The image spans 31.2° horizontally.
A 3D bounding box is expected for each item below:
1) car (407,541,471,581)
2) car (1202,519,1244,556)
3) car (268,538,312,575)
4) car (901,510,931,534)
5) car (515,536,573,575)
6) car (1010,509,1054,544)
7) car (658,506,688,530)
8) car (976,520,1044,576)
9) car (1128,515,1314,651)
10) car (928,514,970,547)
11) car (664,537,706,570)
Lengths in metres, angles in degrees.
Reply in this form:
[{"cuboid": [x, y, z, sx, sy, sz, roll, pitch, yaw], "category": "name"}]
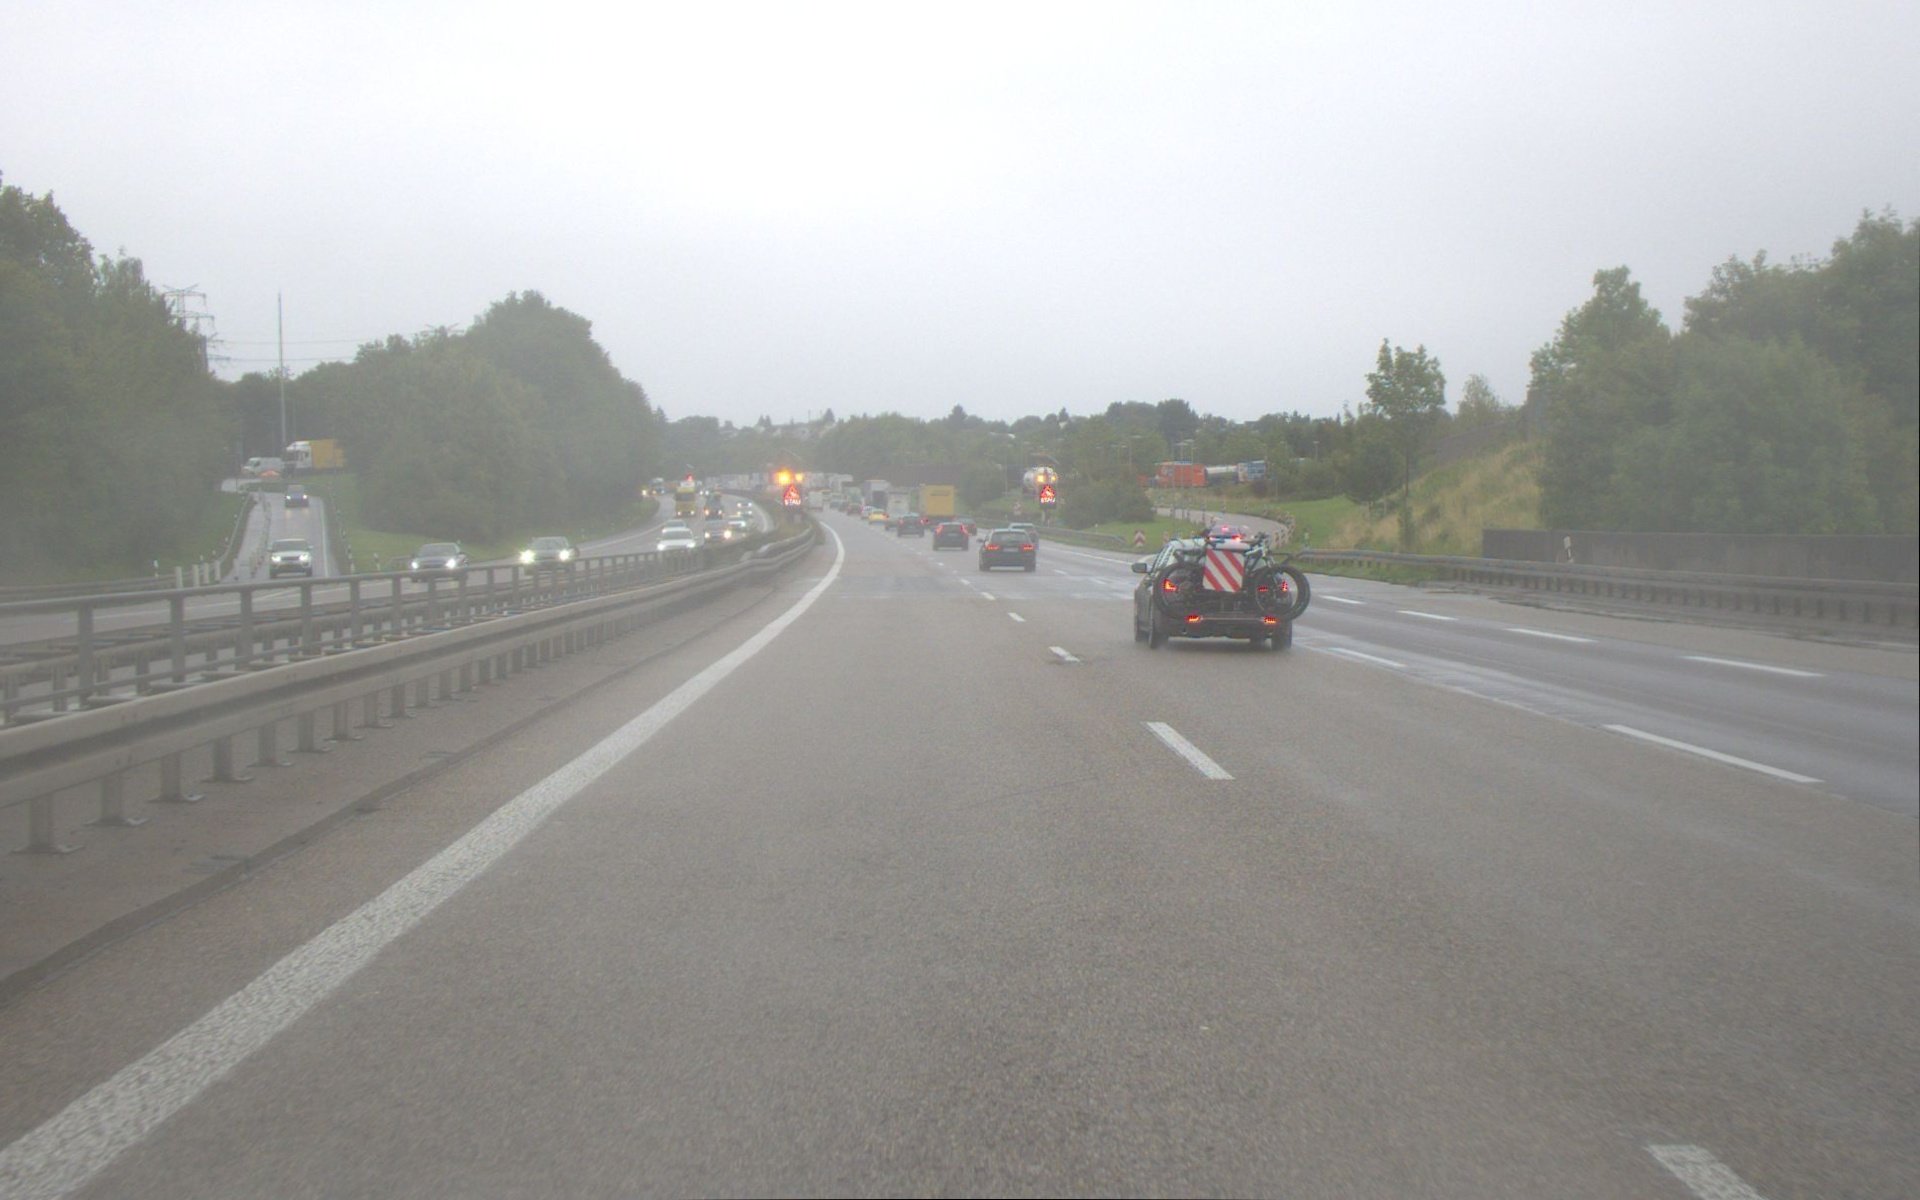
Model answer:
[{"cuboid": [-19.468, -1.469, 128.615, 1.816, 1.384, 4.089, -2, 1, -1], "category": "car"}, {"cuboid": [12.775, -3.060, 167.223, 1.922, 1.703, 4.000, -1, 2, 4], "category": "car"}, {"cuboid": [-31.978, -2.082, 164.052, 1.993, 1.664, 4.001, -1, 1, -11], "category": "car"}, {"cuboid": [-3.195, -5.718, 251.429, 1.993, 1.623, 4.001, -2, 2, -3], "category": "car"}, {"cuboid": [-16.427, -1.783, 135.761, 1.816, 1.432, 4.089, -2, 1, -1], "category": "car"}, {"cuboid": [3.792, -3.878, 180.909, 1.993, 1.755, 4.001, -2, 2, -3], "category": "car"}, {"cuboid": [-21.035, -6.018, 251.839, 1.904, 1.659, 4.714, -2, 1, -2], "category": "car"}, {"cuboid": [1.669, -1.767, 116.006, 1.993, 1.755, 4.001, -2, 2, -3], "category": "car"}, {"cuboid": [3.356, -0.248, 45.222, 2.058, 1.665, 5.522, 0, 1, 0], "category": "car"}, {"cuboid": [-0.588, -3.687, 181.365, 1.993, 1.623, 4.001, -2, 2, -3], "category": "car"}, {"cuboid": [-12.854, -2.170, 161.055, 1.656, 1.432, 4.089, -2, 1, -1], "category": "car"}]
